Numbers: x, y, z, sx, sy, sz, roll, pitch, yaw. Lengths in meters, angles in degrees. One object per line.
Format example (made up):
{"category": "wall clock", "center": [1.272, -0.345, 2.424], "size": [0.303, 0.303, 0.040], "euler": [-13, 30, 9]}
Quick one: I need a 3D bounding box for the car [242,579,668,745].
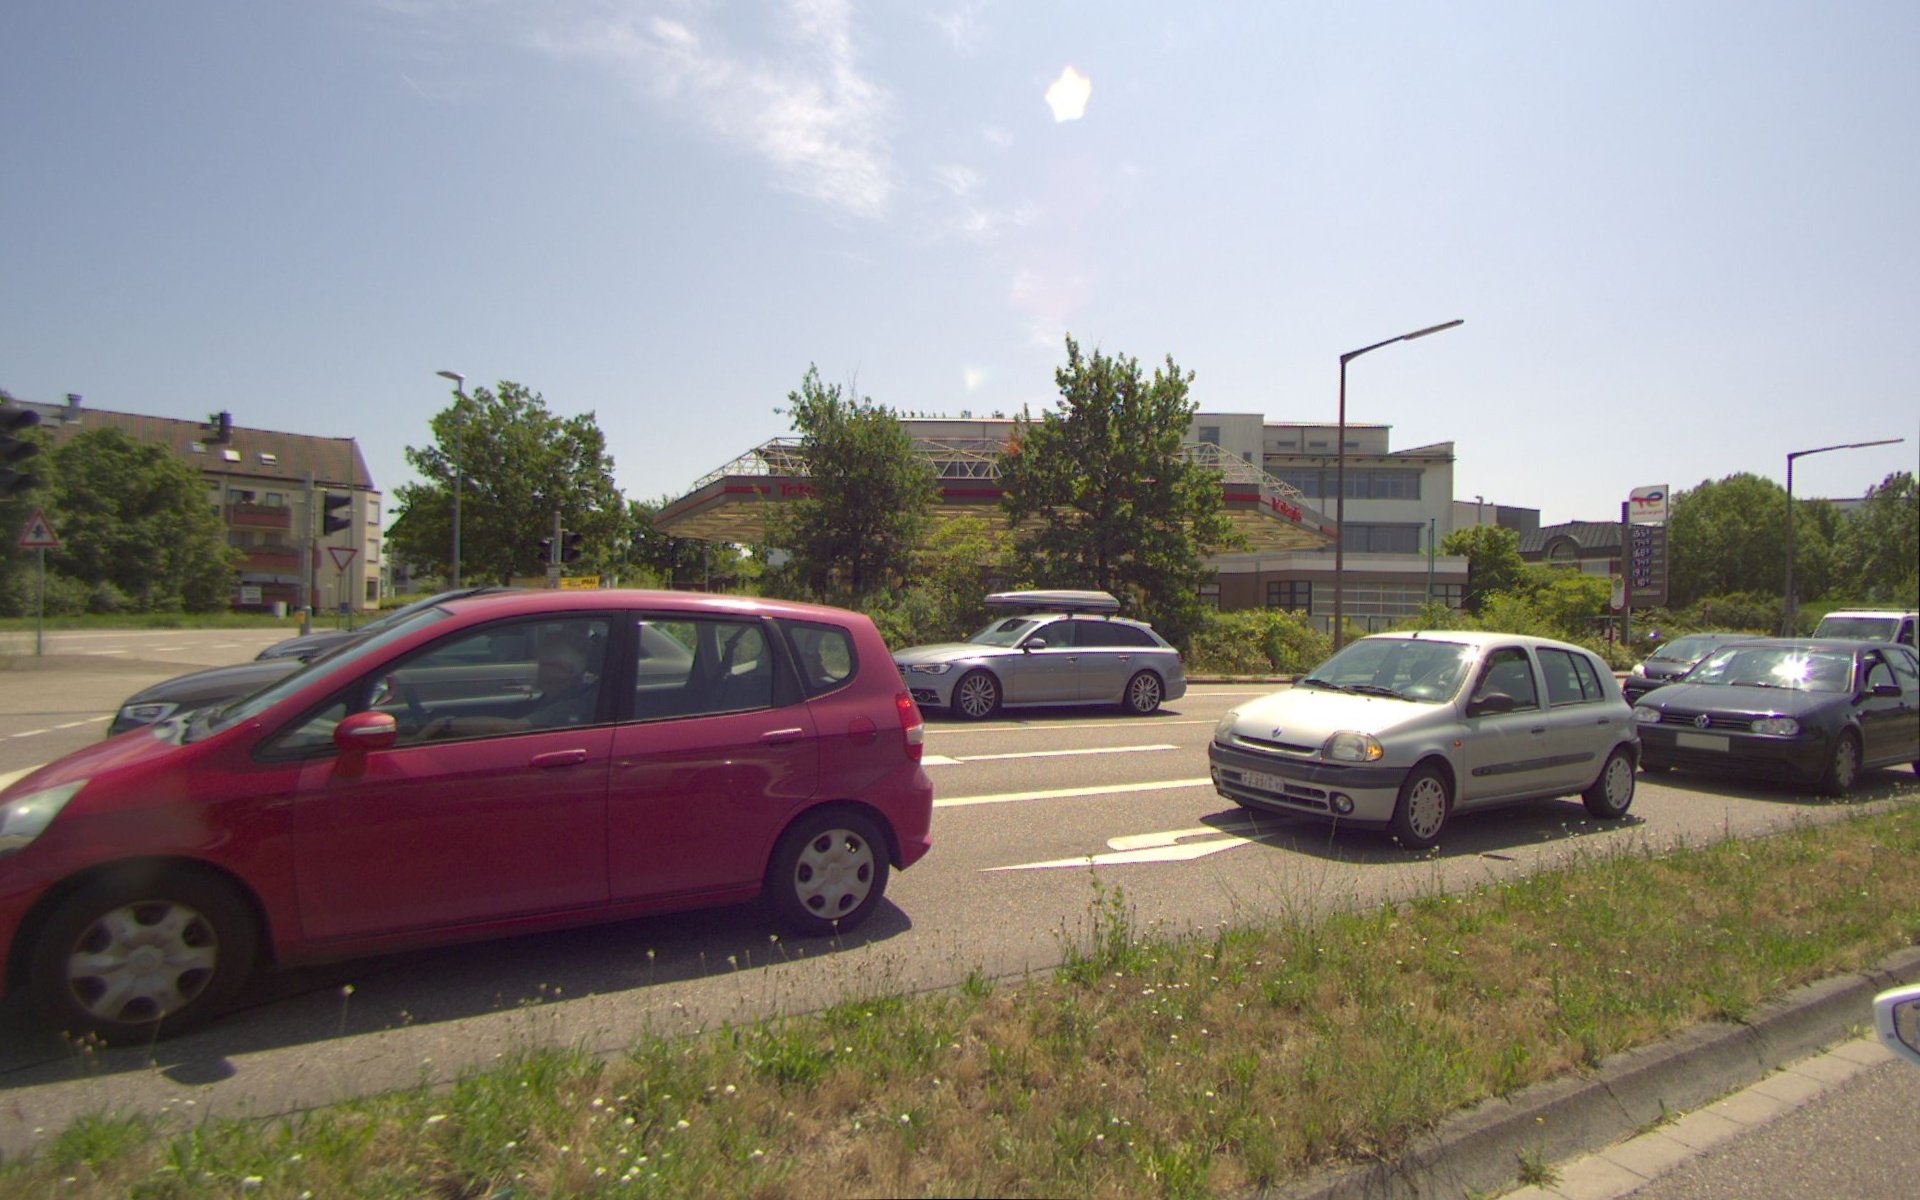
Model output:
{"category": "car", "center": [-5.474, 0.628, 11.207], "size": [3.955, 1.560, 1.650], "euler": [2, 0, -31]}

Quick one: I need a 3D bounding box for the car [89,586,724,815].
{"category": "car", "center": [-4.042, 0.663, 7.881], "size": [3.958, 1.403, 1.588], "euler": [2, 0, -31]}

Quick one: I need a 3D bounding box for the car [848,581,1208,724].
{"category": "car", "center": [1.059, 0.707, 14.613], "size": [4.963, 1.773, 1.955], "euler": [2, 0, -30]}

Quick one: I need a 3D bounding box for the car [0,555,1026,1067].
{"category": "car", "center": [-1.790, 0.675, 4.577], "size": [3.955, 1.510, 1.650], "euler": [2, -1, -31]}

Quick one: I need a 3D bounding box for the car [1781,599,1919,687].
{"category": "car", "center": [26.385, 1.228, 29.035], "size": [5.383, 2.303, 2.239], "euler": [2, 0, -29]}

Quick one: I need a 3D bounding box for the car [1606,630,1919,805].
{"category": "car", "center": [8.671, 1.081, 10.395], "size": [4.143, 1.453, 1.667], "euler": [2, -1, -31]}

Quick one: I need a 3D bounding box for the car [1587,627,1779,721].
{"category": "car", "center": [12.673, 1.249, 17.576], "size": [3.464, 1.465, 1.440], "euler": [2, -1, -30]}

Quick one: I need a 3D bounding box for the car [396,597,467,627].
{"category": "car", "center": [-27.675, 0.655, 52.706], "size": [1.793, 1.468, 3.826], "euler": [2, -1, -3]}

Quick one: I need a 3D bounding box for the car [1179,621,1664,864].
{"category": "car", "center": [3.645, 0.910, 7.760], "size": [3.810, 1.442, 1.552], "euler": [1, 0, -32]}
